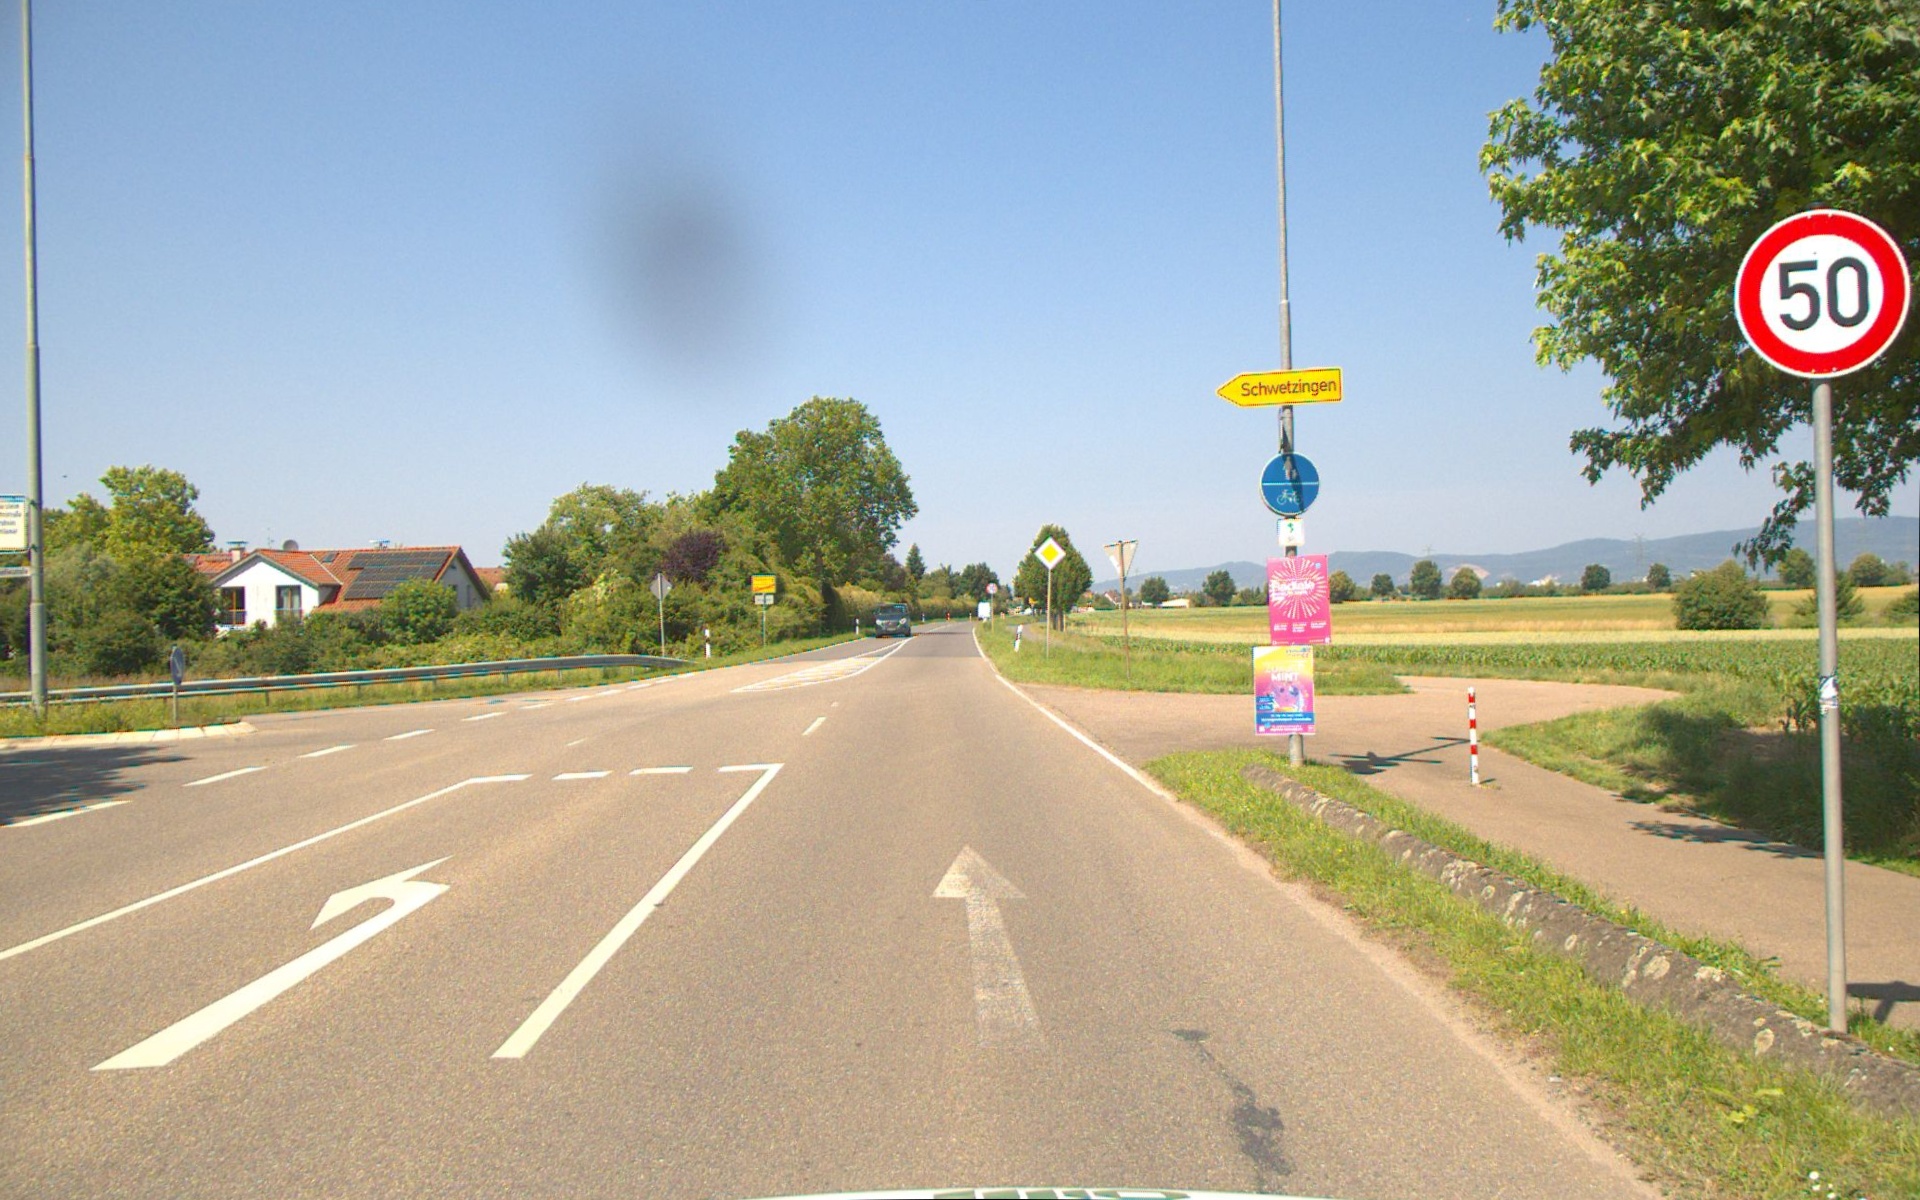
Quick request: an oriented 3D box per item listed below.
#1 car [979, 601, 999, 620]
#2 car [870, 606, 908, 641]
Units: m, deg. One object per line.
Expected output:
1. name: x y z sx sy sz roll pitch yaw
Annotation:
1. car: 4.370 1.585 247.993 1.951 2.697 4.003 -2 0 16
2. car: -4.196 1.369 98.777 2.101 1.985 5.245 -2 0 -1
